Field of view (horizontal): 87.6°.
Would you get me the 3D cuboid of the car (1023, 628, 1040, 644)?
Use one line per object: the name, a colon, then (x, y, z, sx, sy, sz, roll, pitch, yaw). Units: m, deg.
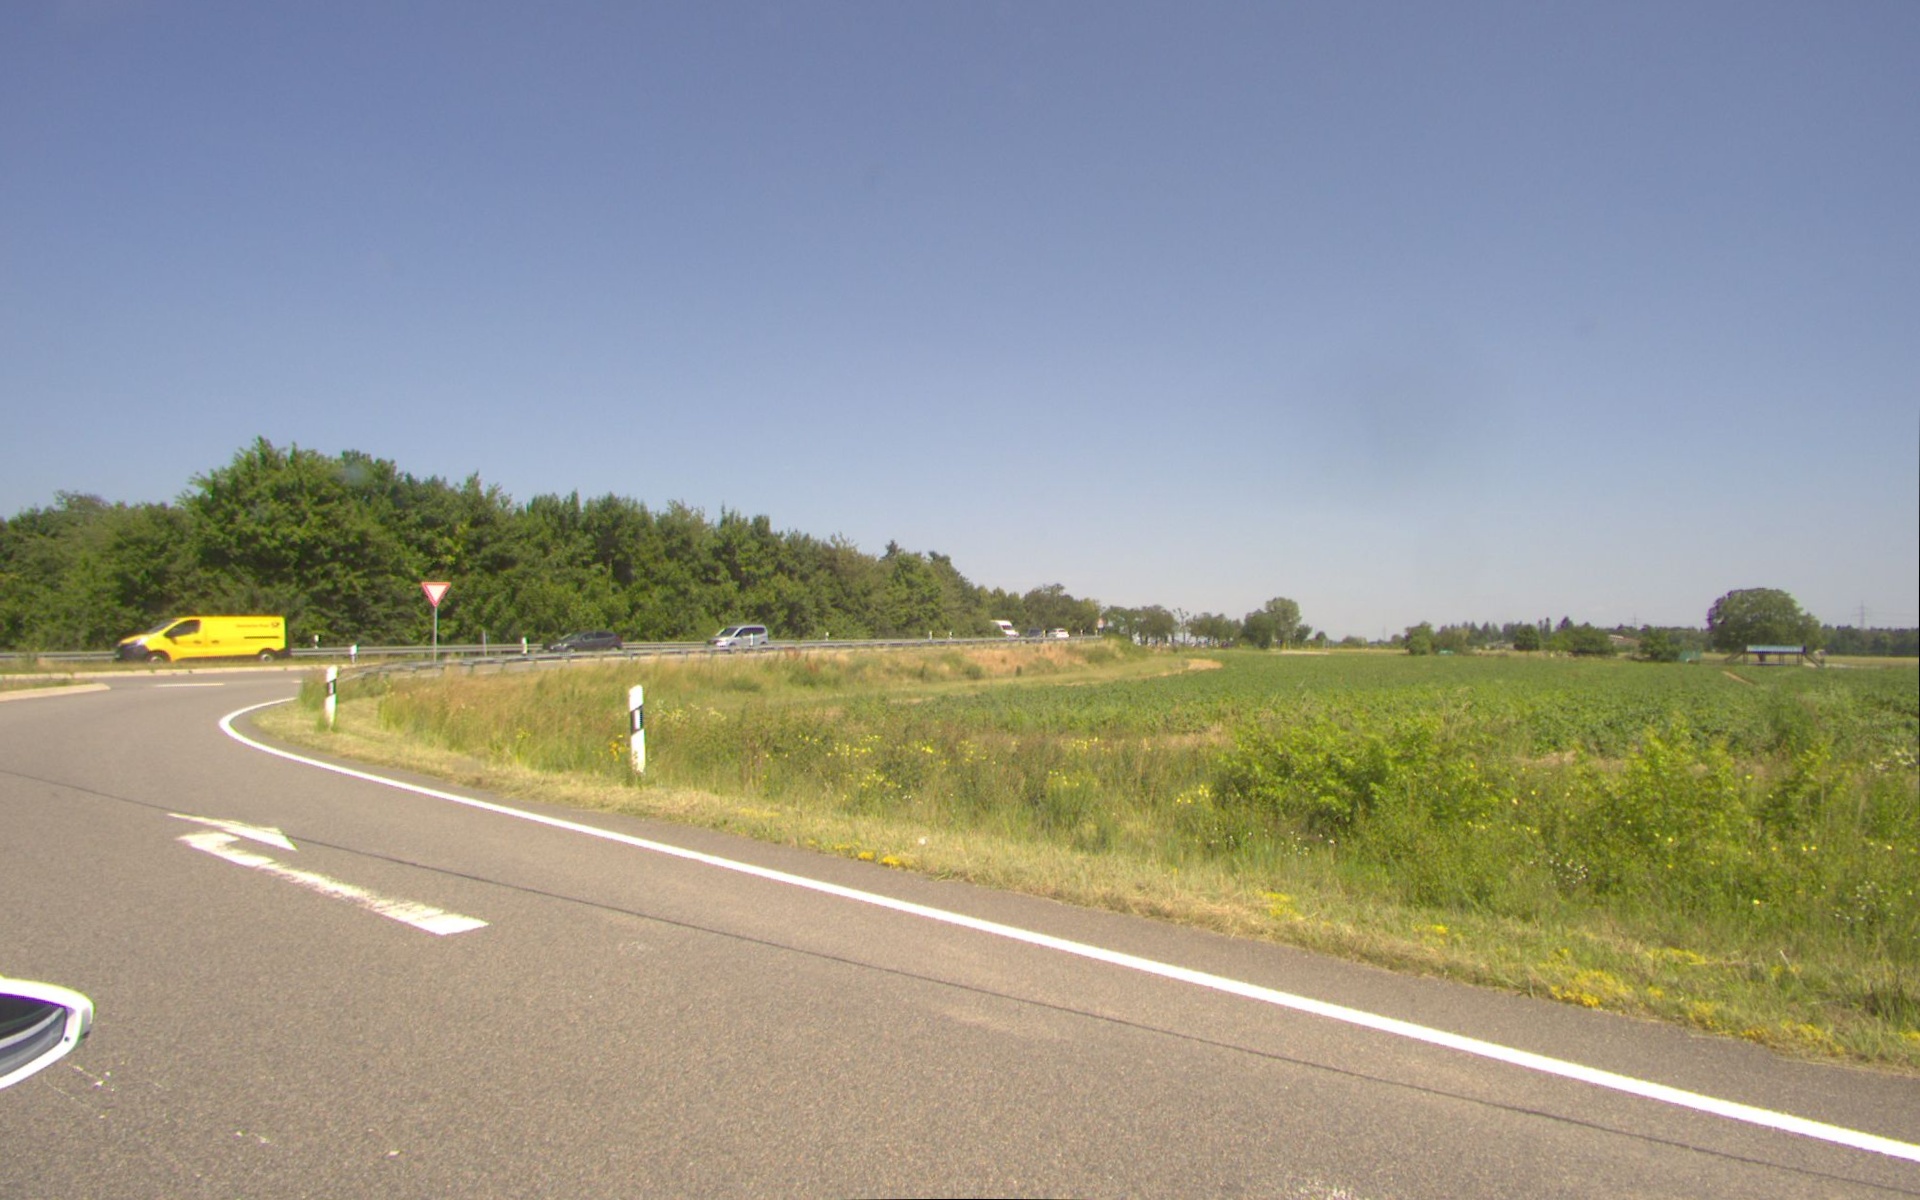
car: (7.876, 3.975, 110.706, 1.705, 1.587, 4.483, -1, -1, 3)

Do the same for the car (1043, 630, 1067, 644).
car: (12.005, 4.629, 126.480, 1.707, 1.587, 4.479, -1, -1, -12)

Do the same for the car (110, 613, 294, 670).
car: (-28.941, 1.570, 38.434, 1.974, 2.039, 5.308, -1, -2, 35)

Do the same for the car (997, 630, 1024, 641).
car: (7.050, 5.008, 141.154, 1.722, 1.587, 3.659, 1, -2, -43)

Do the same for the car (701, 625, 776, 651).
car: (-13.736, 2.338, 62.359, 1.826, 1.533, 4.676, -1, -2, 31)

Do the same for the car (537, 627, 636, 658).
car: (-19.579, 2.222, 52.669, 1.828, 1.533, 4.671, -1, -2, 34)

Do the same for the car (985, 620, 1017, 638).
car: (5.274, 3.786, 130.790, 2.015, 2.303, 5.562, 0, -2, -23)
